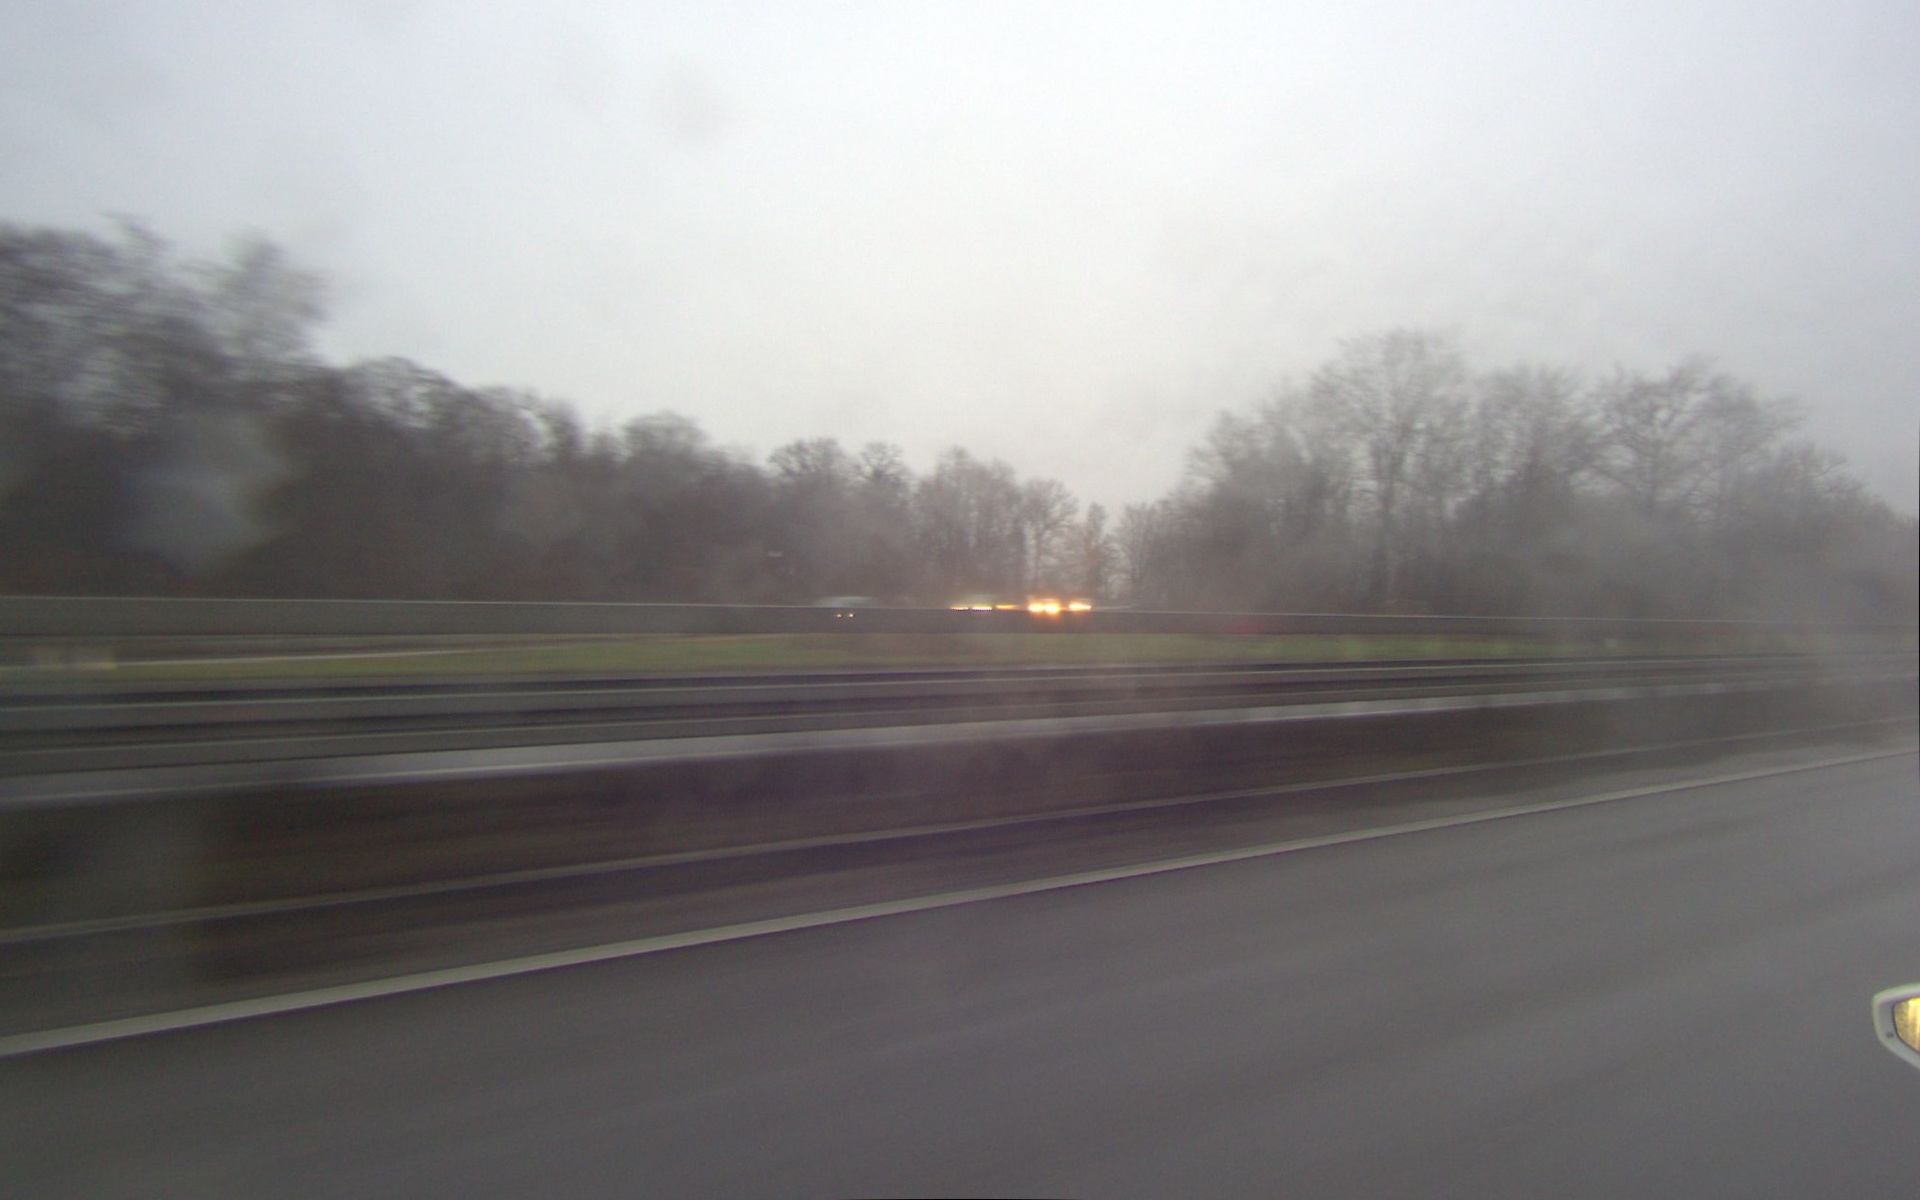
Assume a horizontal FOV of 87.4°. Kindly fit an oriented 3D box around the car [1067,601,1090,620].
[{"bbox_3d":[11.794,1.061,99.892,1.704,1.807,3.865,0,-1,15],"label":"car"}]

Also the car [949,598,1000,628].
[{"bbox_3d":[0.936,0.777,61.444,1.960,1.734,4.001,1,0,18],"label":"car"}]

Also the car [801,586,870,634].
[{"bbox_3d":[-5.506,0.444,44.791,1.705,2.040,3.865,0,-1,16],"label":"car"}]

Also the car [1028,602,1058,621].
[{"bbox_3d":[6.710,0.900,80.833,1.705,1.501,3.864,0,-1,16],"label":"car"}]
